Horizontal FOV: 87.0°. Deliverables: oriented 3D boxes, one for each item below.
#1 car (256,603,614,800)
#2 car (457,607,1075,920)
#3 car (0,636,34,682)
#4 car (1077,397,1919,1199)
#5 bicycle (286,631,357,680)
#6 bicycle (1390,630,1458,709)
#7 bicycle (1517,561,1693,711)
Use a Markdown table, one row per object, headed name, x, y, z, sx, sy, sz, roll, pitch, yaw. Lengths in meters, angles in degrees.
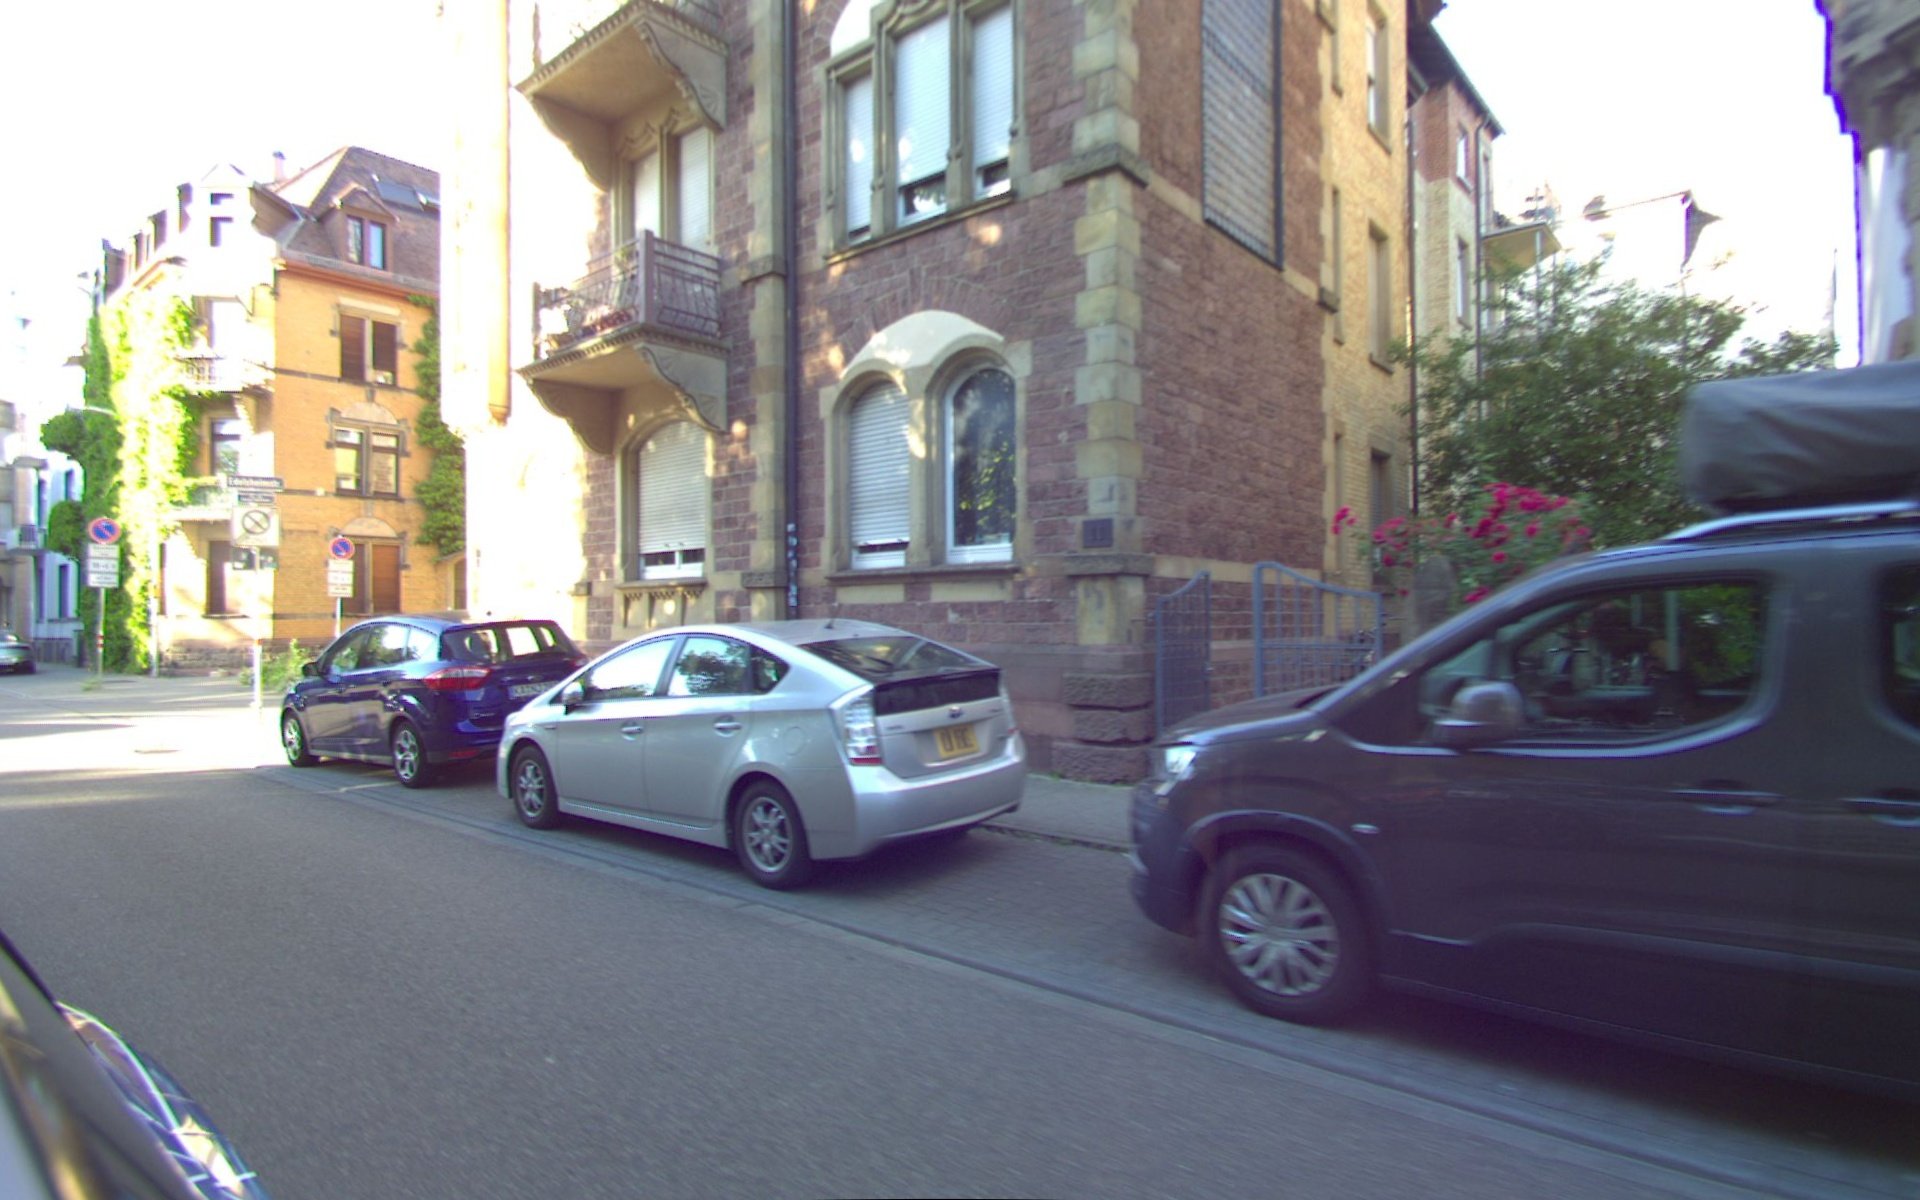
| name | x | y | z | sx | sy | sz | roll | pitch | yaw |
| --- | --- | --- | --- | --- | --- | --- | --- | --- | --- |
| car | -5.582 | 0.917 | 10.535 | 4.253 | 1.634 | 1.713 | -2 | -1 | 38 |
| car | -1.561 | 0.862 | 7.023 | 4.449 | 1.510 | 1.713 | -2 | -1 | 38 |
| car | -32.277 | 1.950 | 33.424 | 4.921 | 1.415 | 1.858 | -2 | 0 | 40 |
| car | 2.838 | 0.493 | 3.363 | 4.492 | 1.989 | 1.950 | -2 | -1 | 38 |
| bicycle | -17.320 | 1.487 | 27.481 | 1.578 | 1.278 | 0.566 | 0 | -2 | -41 |
| bicycle | 6.981 | 0.997 | 15.174 | 0.608 | 1.087 | 2.333 | -2 | -2 | 32 |
| bicycle | 9.292 | 0.504 | 14.590 | 2.158 | 2.029 | 1.019 | 0 | -2 | -22 |
